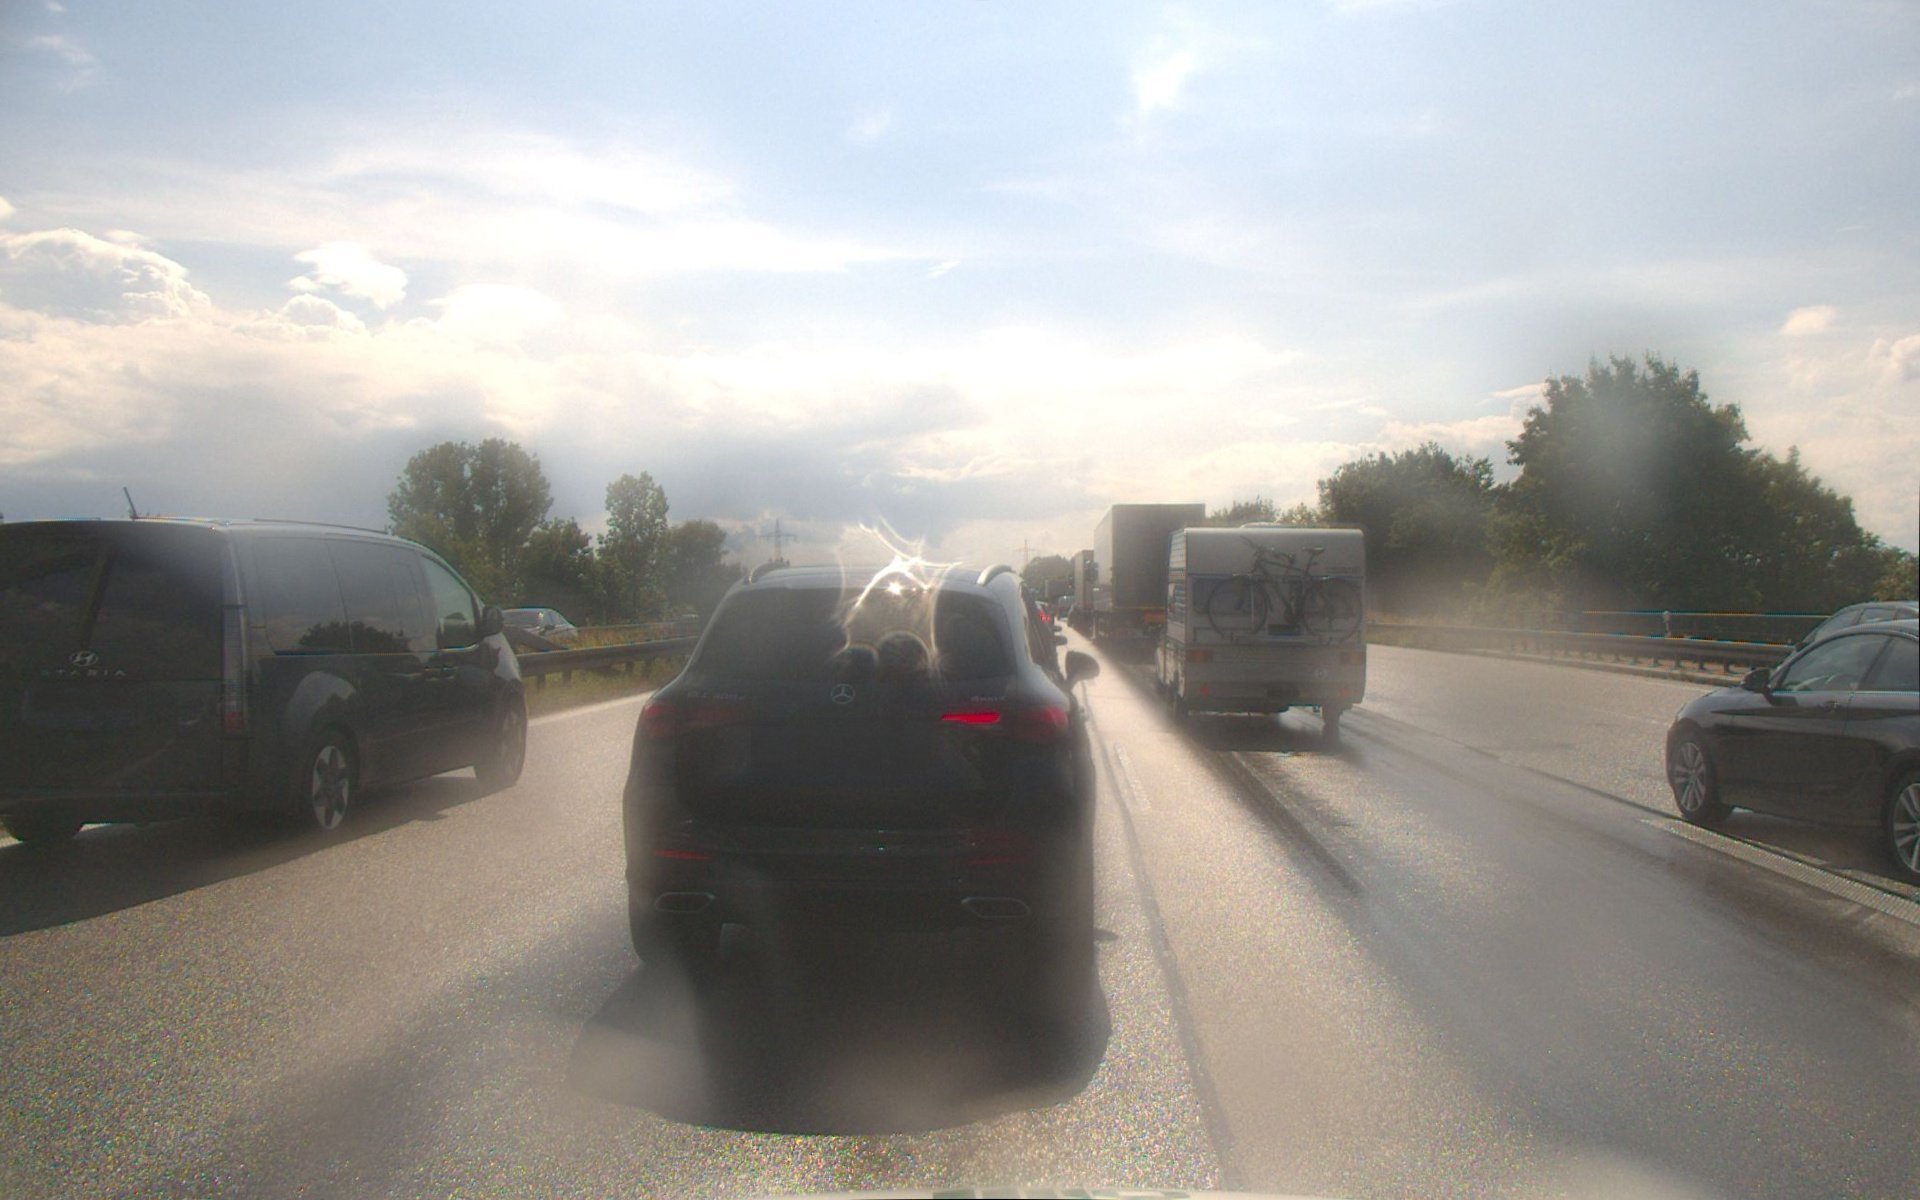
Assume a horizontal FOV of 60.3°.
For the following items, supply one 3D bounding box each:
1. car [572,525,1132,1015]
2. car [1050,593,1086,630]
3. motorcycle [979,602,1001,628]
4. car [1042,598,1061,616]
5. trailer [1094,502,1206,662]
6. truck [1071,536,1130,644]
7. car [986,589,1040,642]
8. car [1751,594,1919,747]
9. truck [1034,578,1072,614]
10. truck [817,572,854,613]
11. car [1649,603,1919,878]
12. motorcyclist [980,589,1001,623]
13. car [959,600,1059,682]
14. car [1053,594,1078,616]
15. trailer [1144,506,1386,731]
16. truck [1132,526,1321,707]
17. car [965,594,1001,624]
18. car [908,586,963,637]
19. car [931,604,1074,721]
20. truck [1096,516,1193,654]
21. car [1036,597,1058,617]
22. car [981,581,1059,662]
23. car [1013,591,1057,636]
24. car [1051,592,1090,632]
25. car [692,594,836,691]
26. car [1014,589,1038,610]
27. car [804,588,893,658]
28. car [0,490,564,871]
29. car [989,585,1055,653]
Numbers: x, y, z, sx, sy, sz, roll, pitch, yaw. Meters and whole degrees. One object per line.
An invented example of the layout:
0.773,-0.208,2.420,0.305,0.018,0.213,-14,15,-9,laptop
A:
-0.266,0.596,7.948,1.952,1.690,4.407,0,0,3,car
6.435,0.696,98.665,1.952,2.048,4.002,4,0,4,car
1.562,0.768,84.662,1.051,1.293,2.691,0,0,3,motorcycle
9.827,0.754,177.081,1.837,1.791,4.000,1,0,0,car
5.460,-0.469,48.425,2.943,4.239,8.541,0,0,5,trailer
6.702,-0.458,79.654,2.450,4.914,7.545,1,0,2,truck
2.136,0.597,65.666,1.952,2.049,4.002,0,0,4,car
10.924,0.748,19.130,1.810,1.596,4.001,0,0,3,car
11.050,-0.428,198.241,3.764,4.087,11.219,1,0,-1,truck
-12.377,-0.713,164.946,2.802,3.888,7.880,0,-1,3,truck
6.079,0.763,10.122,1.811,1.490,4.253,-1,0,-2,car
1.560,0.322,84.656,1.041,1.748,0.785,0,-1,2,motorcyclist
0.994,0.746,31.568,1.768,1.432,4.002,1,0,3,car
8.731,0.408,136.762,1.837,1.791,4.000,1,0,0,car
3.836,0.223,22.113,2.324,2.527,6.525,1,0,3,trailer
4.039,0.247,26.125,2.324,2.520,5.758,1,0,3,truck
1.461,0.549,102.382,1.952,1.644,4.002,4,0,4,car
-1.022,0.484,71.678,1.952,2.048,4.002,4,0,4,car
0.646,0.761,21.993,1.720,1.411,3.947,0,0,4,car
5.950,-0.458,53.865,2.932,4.239,5.243,0,0,5,truck
8.184,0.681,156.283,1.837,1.791,4.000,1,0,0,car
1.672,0.549,44.504,1.952,2.049,4.002,1,0,4,car
3.606,0.644,78.947,1.952,2.049,4.002,1,0,4,car
5.913,0.643,88.574,1.952,2.049,4.002,2,0,4,car
-3.303,0.678,28.601,1.720,1.543,4.211,0,0,4,car
5.663,-0.035,142.059,1.837,1.791,4.000,1,0,0,car
-2.913,0.604,44.042,1.952,1.751,4.001,1,0,2,car
-4.548,0.432,11.579,1.951,2.049,5.272,0,0,4,car
2.112,0.601,55.126,1.952,2.048,4.002,4,0,4,car
